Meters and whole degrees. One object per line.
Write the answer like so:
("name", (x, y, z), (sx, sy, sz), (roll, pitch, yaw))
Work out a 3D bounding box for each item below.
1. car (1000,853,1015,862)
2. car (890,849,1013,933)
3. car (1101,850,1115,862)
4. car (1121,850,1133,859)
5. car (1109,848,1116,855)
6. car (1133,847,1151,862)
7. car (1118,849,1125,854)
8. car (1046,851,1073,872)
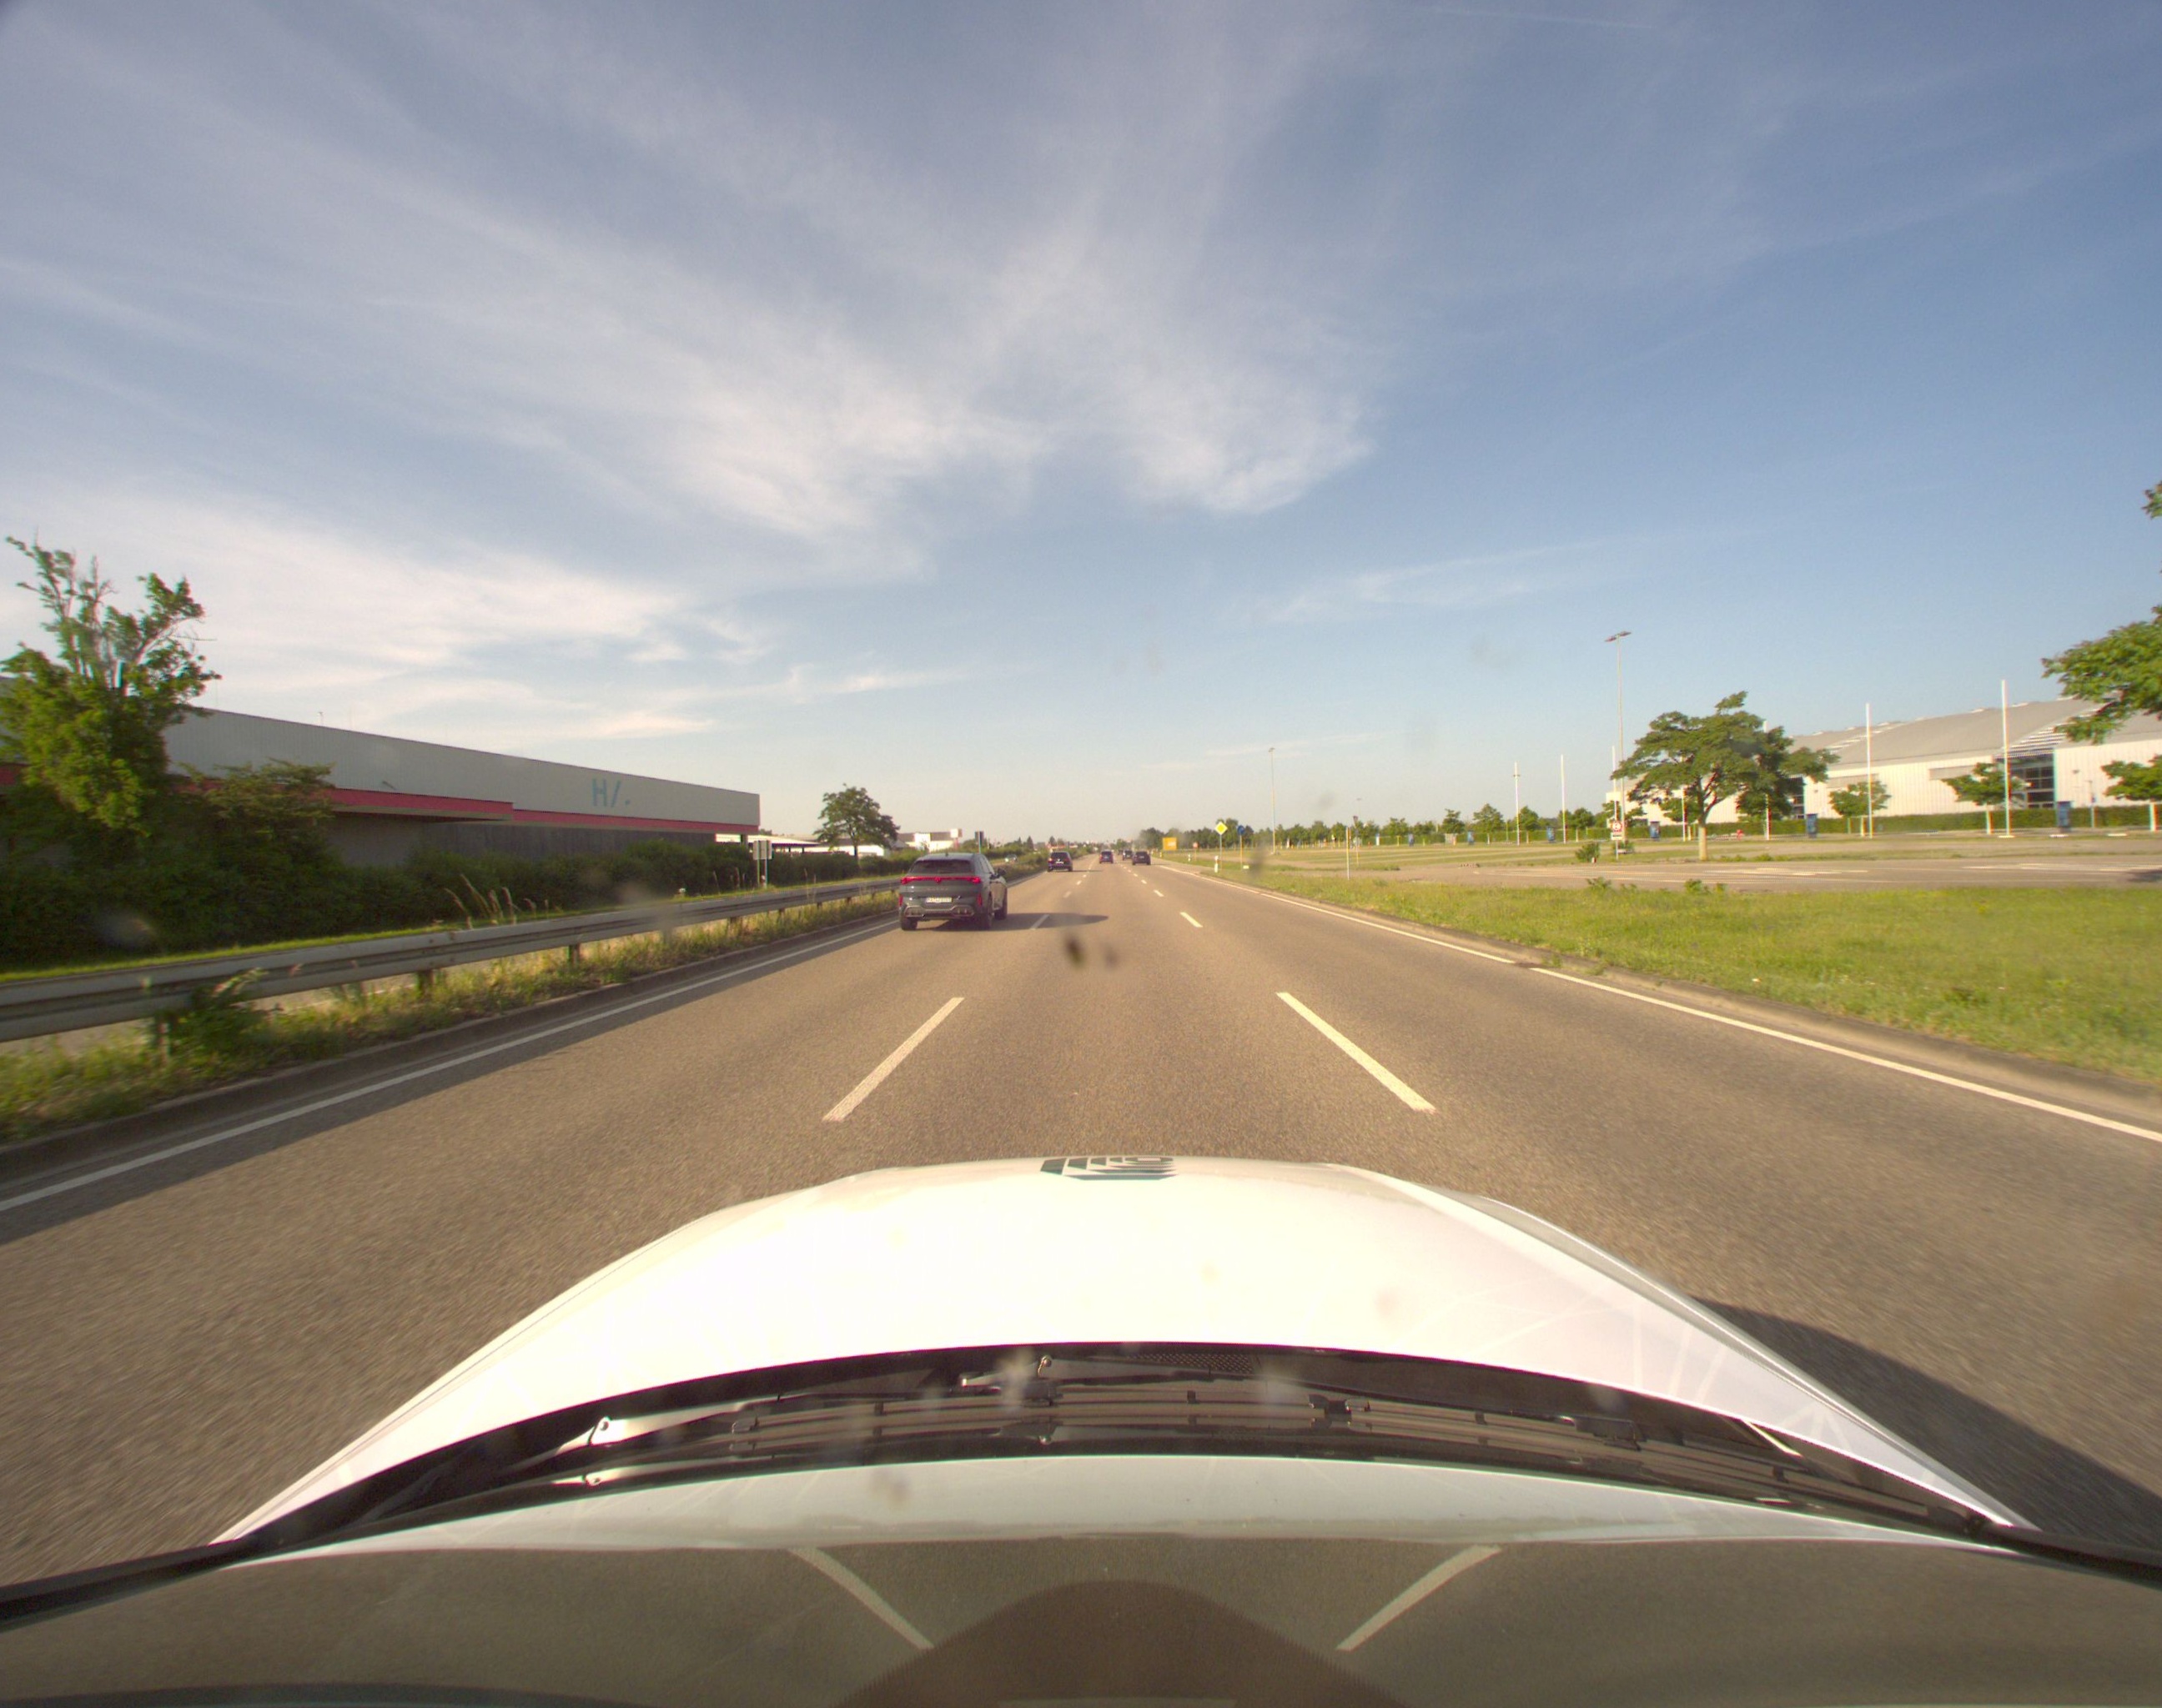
("car", (-11.518, 0.513, 127.878), (1.772, 1.424, 4.003), (-2, 0, 2))
("car", (-2.691, 0.692, 17.936), (1.838, 1.611, 4.403), (0, 0, 2))
("car", (3.503, 0.273, 105.140), (1.806, 1.463, 4.403), (0, 0, 2))
("car", (7.375, 0.036, 130.604), (1.866, 1.463, 3.983), (0, 0, 2))
("car", (7.364, -0.565, 189.708), (1.639, 1.728, 3.402), (-1, -1, 2))
("car", (6.799, 0.031, 91.124), (1.925, 1.680, 4.403), (0, 0, 2))
("car", (10.175, -0.648, 204.862), (1.497, 1.313, 3.158), (0, 0, 2))
("car", (-1.705, 0.596, 66.774), (1.925, 1.680, 4.403), (0, 0, 2))
